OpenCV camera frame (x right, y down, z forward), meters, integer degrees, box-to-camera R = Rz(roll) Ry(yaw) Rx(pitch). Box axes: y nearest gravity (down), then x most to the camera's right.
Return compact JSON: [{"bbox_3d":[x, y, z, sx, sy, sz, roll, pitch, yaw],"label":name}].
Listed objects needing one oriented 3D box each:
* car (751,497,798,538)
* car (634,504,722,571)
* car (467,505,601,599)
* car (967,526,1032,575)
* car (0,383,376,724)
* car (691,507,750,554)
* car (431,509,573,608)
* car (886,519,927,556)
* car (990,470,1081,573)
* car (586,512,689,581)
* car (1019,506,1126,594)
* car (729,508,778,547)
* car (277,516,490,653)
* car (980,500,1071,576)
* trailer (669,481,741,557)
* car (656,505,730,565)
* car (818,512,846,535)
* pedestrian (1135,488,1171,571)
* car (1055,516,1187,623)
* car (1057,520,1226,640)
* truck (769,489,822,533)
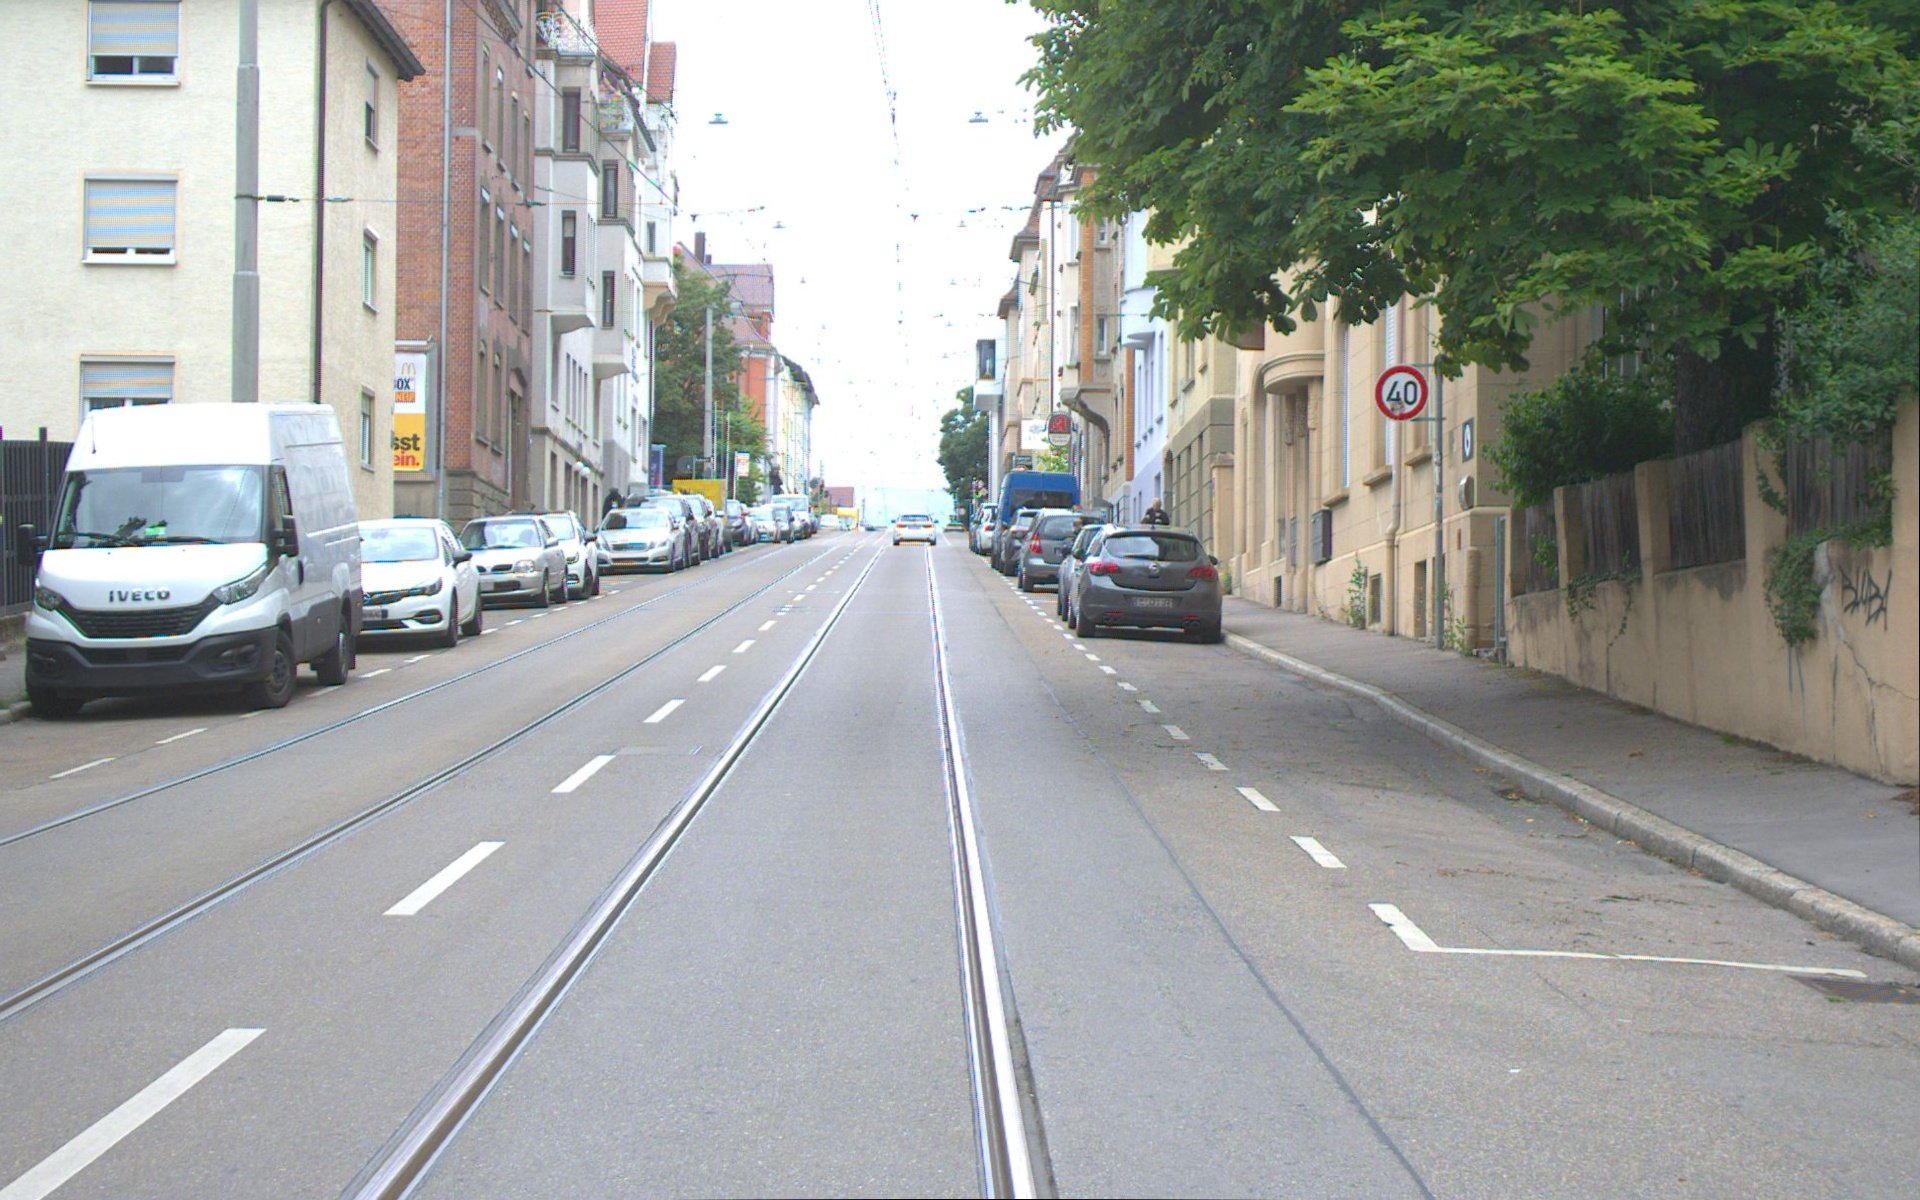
[{"bbox_3d":[-8.178,-3.635,151.990,1.744,1.730,4.519,-1,1,1],"label":"car"},{"bbox_3d":[-7.381,-1.667,90.312,1.873,1.658,4.892,-1,2,0],"label":"car"},{"bbox_3d":[-7.136,-0.837,57.975,1.827,1.424,4.628,-3,2,-3],"label":"car"},{"bbox_3d":[1.182,-1.519,104.675,1.750,1.386,4.308,3,1,-2],"label":"car"},{"bbox_3d":[-6.666,-0.456,30.102,2.158,2.598,6.220,-2,2,-2],"label":"car"},{"bbox_3d":[-7.831,-2.289,112.759,1.697,1.463,3.023,-1,1,0],"label":"car"},{"bbox_3d":[-7.028,-0.669,53.055,1.600,1.363,3.807,-3,2,0],"label":"car"},{"bbox_3d":[-2.288,-2.680,146.732,1.672,1.508,3.798,1,1,-2],"label":"car"},{"bbox_3d":[1.790,-1.885,82.992,1.993,2.368,5.056,1,1,-1],"label":"car"},{"bbox_3d":[-7.199,-1.225,77.077,1.827,1.424,4.839,-1,2,0],"label":"car"},{"bbox_3d":[2.115,-0.980,65.428,1.827,1.513,4.028,3,2,0],"label":"car"},{"bbox_3d":[-8.449,-2.975,140.690,1.697,1.550,3.850,1,1,1],"label":"car"},{"bbox_3d":[-6.580,-0.223,39.622,1.719,1.398,4.314,-2,2,-1],"label":"car"},{"bbox_3d":[1.444,-1.408,77.446,1.779,1.525,4.193,4,1,-1],"label":"car"},{"bbox_3d":[-7.462,-2.400,101.016,1.748,2.148,4.071,-1,2,0],"label":"trailer"},{"bbox_3d":[-7.504,-1.839,96.857,1.697,1.588,4.268,-1,2,0],"label":"car"},{"bbox_3d":[-9.077,-5.447,244.817,1.855,1.601,4.297,1,1,-1],"label":"car"},{"bbox_3d":[4.005,-1.464,71.516,0.540,1.676,0.516,-4,-1,-9],"label":"pedestrian"},{"bbox_3d":[2.324,-0.472,50.326,1.695,1.399,3.668,3,2,0],"label":"car"},{"bbox_3d":[2.279,-0.276,44.182,1.839,1.398,4.168,2,1,-1],"label":"car"},{"bbox_3d":[-8.520,-4.618,178.453,2.280,2.180,8.025,1,1,0],"label":"truck"}]
